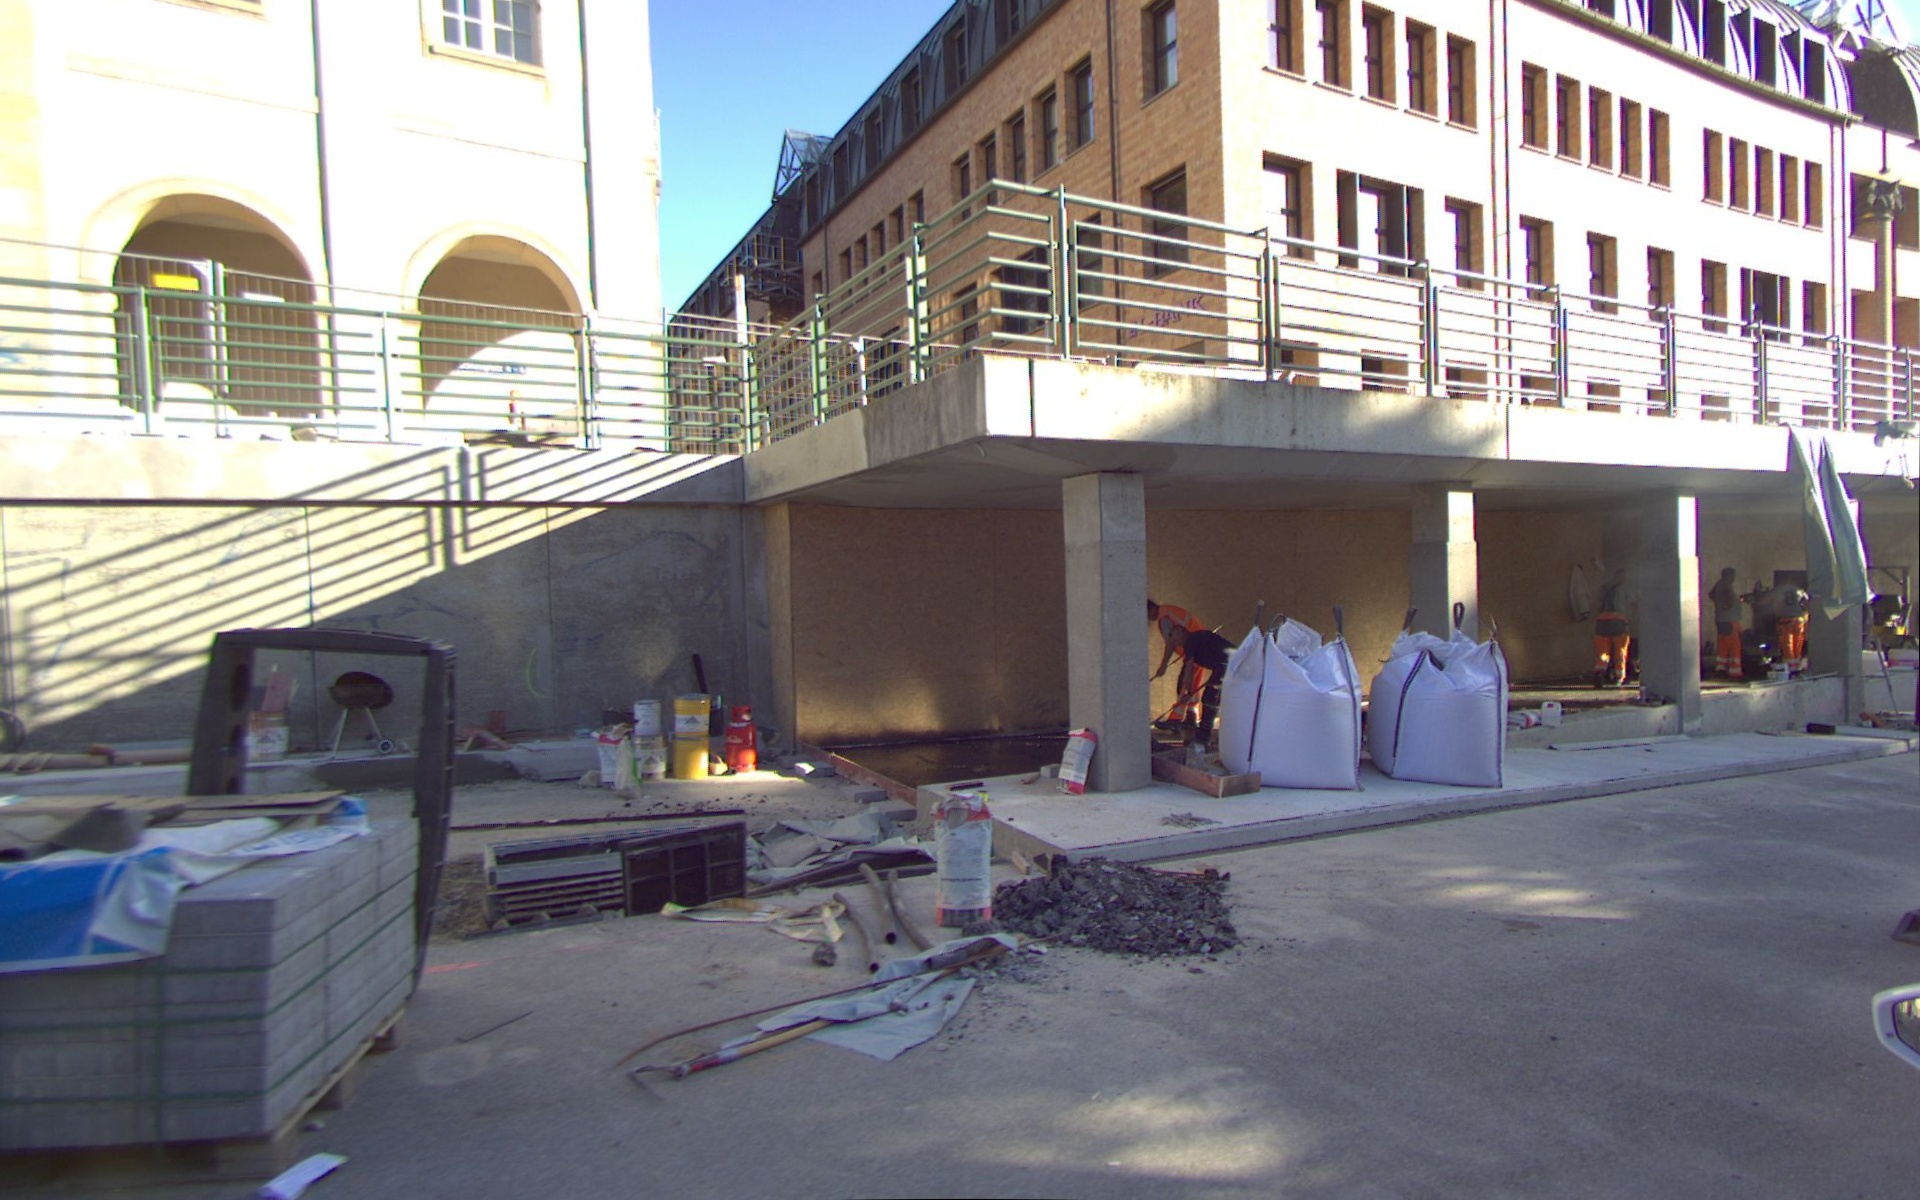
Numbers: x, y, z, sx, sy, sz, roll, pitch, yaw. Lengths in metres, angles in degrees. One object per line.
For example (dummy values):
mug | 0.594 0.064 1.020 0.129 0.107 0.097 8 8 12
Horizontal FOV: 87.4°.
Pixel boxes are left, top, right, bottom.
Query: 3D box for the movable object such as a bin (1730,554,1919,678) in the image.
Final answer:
movable object such as a bin | 15.588 0.243 17.902 3.121 2.014 1.876 0 1 -30

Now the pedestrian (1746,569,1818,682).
pedestrian | 13.706 0.411 16.750 0.615 1.829 0.656 1 1 -20

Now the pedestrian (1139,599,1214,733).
pedestrian | 2.682 0.791 12.471 0.625 1.601 0.644 1 0 -37

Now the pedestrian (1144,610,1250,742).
pedestrian | 2.680 0.825 11.391 0.776 1.417 0.865 1 0 -36

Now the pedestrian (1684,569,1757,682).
pedestrian | 12.809 0.412 16.926 0.701 1.839 0.701 0 2 -30

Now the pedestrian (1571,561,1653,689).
pedestrian | 10.403 0.381 16.036 0.925 1.983 0.674 1 2 -28
